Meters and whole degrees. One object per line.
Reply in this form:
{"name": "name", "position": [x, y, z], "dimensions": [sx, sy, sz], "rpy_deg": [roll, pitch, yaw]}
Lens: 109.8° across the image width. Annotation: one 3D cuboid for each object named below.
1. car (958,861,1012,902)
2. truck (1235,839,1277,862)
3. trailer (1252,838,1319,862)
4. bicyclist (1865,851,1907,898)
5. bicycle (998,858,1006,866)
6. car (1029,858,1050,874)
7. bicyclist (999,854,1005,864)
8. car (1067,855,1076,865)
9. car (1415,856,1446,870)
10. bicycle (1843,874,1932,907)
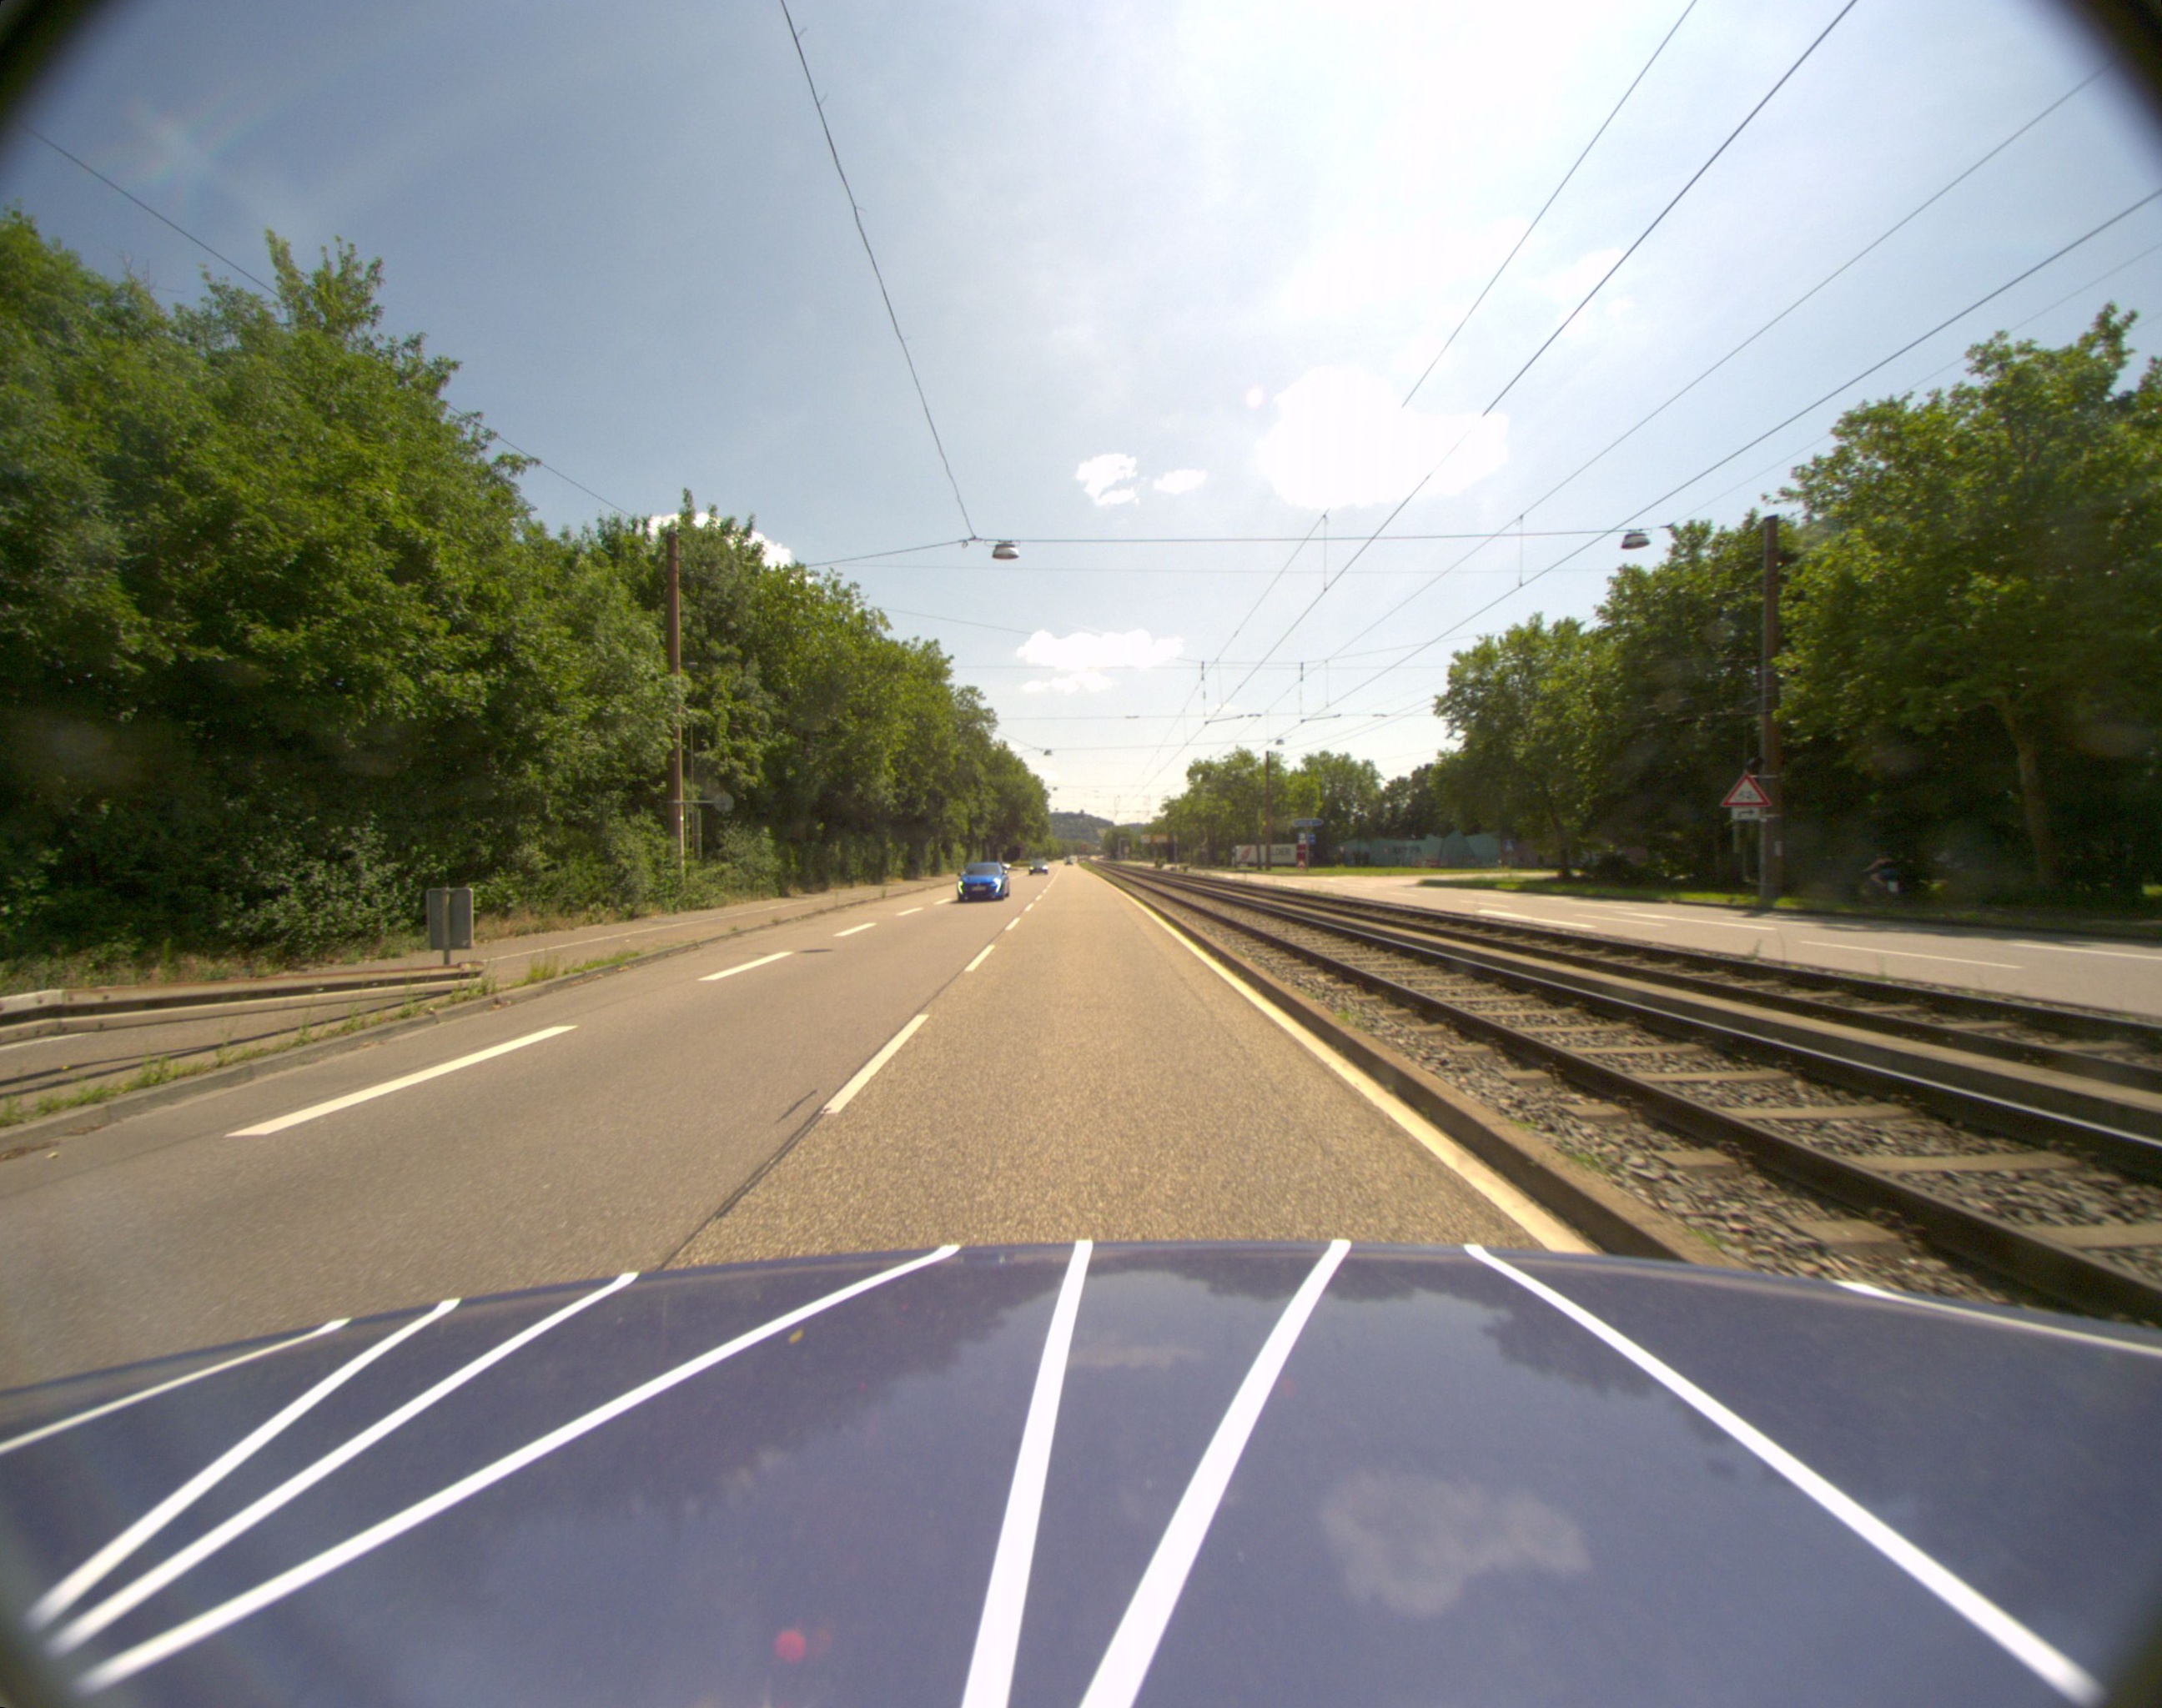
{"name": "car", "position": [-3.681, 1.017, 29.585], "dimensions": [1.660, 1.397, 3.743], "rpy_deg": [-2, 1, -1]}
{"name": "truck", "position": [29.282, -0.614, 127.385], "dimensions": [3.423, 3.680, 6.746], "rpy_deg": [0, 0, -25]}
{"name": "trailer", "position": [32.305, -0.647, 120.927], "dimensions": [3.393, 3.633, 12.083], "rpy_deg": [0, 0, -25]}
{"name": "bicyclist", "position": [23.983, 0.602, 22.638], "dimensions": [0.570, 1.360, 0.631], "rpy_deg": [-2, 2, 5]}
{"name": "bicycle", "position": [-10.635, 1.042, 102.172], "dimensions": [0.710, 1.131, 2.538], "rpy_deg": [0, 0, 1]}
{"name": "car", "position": [-4.037, 1.171, 74.278], "dimensions": [1.770, 1.359, 3.743], "rpy_deg": [-2, 1, 0]}
{"name": "bicyclist", "position": [-10.628, 0.652, 102.076], "dimensions": [0.704, 1.431, 0.641], "rpy_deg": [0, 0, 0]}
{"name": "car", "position": [-2.124, 1.299, 165.704], "dimensions": [1.999, 2.002, 3.999], "rpy_deg": [-2, 1, -1]}
{"name": "car", "position": [43.801, 1.104, 95.241], "dimensions": [1.567, 1.781, 3.392], "rpy_deg": [0, 0, -26]}
{"name": "bicycle", "position": [24.024, 1.061, 22.692], "dimensions": [0.587, 0.814, 2.069], "rpy_deg": [-2, 1, 5]}
